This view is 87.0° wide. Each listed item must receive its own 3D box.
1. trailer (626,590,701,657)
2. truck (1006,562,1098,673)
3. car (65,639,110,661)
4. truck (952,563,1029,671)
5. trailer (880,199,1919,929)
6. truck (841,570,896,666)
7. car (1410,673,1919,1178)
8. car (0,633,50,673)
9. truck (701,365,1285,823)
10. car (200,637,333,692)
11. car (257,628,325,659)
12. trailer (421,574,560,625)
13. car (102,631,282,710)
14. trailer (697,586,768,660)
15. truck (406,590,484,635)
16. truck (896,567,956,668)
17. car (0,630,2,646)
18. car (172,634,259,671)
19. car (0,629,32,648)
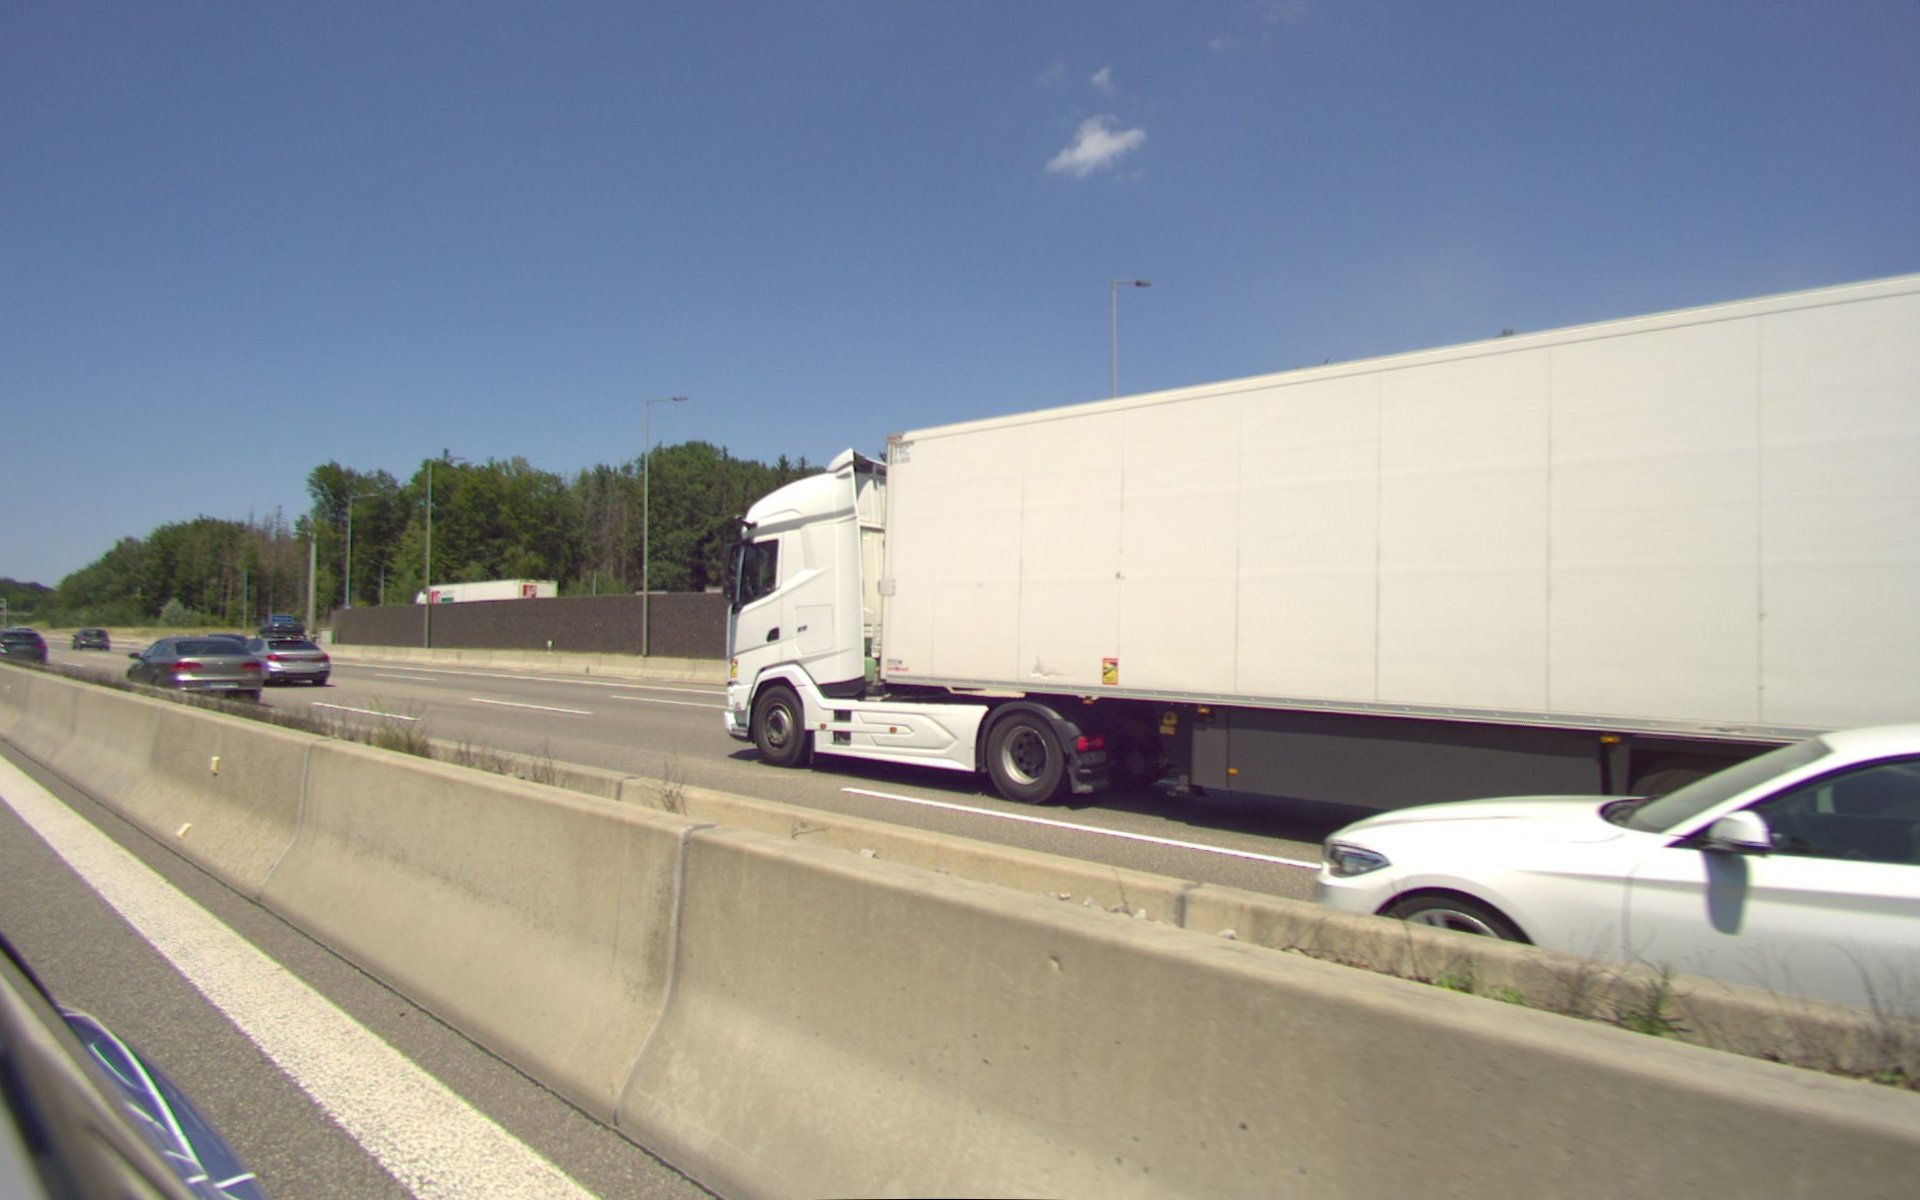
[{"bbox_3d":[-24.805,2.065,85.566,3.083,5.111,14.580,0,-2,-4],"label":"trailer"},{"bbox_3d":[5.000,1.092,57.705,3.317,5.656,11.548,0,-2,-5],"label":"truck"},{"bbox_3d":[-63.238,3.606,73.298,4.053,1.567,1.705,-1,-3,38],"label":"car"},{"bbox_3d":[1.564,1.094,59.021,3.179,5.656,11.548,0,-2,-5],"label":"truck"},{"bbox_3d":[5.511,-0.156,7.949,14.459,4.257,2.991,-1,-3,41],"label":"trailer"},{"bbox_3d":[-5.763,1.199,64.087,3.179,5.656,8.496,0,-2,-4],"label":"truck"},{"bbox_3d":[3.962,1.064,3.435,4.152,1.469,1.730,-1,-3,40],"label":"car"},{"bbox_3d":[-40.168,2.205,42.799,4.588,1.559,1.852,-1,-3,40],"label":"car"},{"bbox_3d":[0.108,0.042,12.646,6.945,4.168,3.015,-1,-3,41],"label":"truck"},{"bbox_3d":[-20.958,1.894,30.508,5.014,1.498,1.973,-1,-4,40],"label":"car"},{"bbox_3d":[-36.894,2.382,55.801,4.210,1.633,1.973,-1,-3,40],"label":"car"},{"bbox_3d":[-32.168,0.110,68.760,14.603,3.148,2.941,-1,-3,41],"label":"trailer"},{"bbox_3d":[-16.703,1.439,21.899,5.131,1.498,1.973,-1,-3,40],"label":"car"},{"bbox_3d":[-17.115,1.842,77.276,3.175,5.111,14.580,0,-2,-4],"label":"trailer"},{"bbox_3d":[-37.120,0.948,72.850,6.200,3.148,2.896,-1,-3,41],"label":"truck"},{"bbox_3d":[-2.286,1.198,62.985,3.179,5.656,11.548,0,-2,-5],"label":"truck"},{"bbox_3d":[-114.518,4.466,119.195,5.036,1.787,1.972,-1,-3,41],"label":"car"},{"bbox_3d":[-34.896,2.408,47.357,5.750,1.633,1.973,-1,-3,40],"label":"car"},{"bbox_3d":[-92.760,3.751,99.207,5.921,1.787,1.972,-1,-3,41],"label":"car"}]
